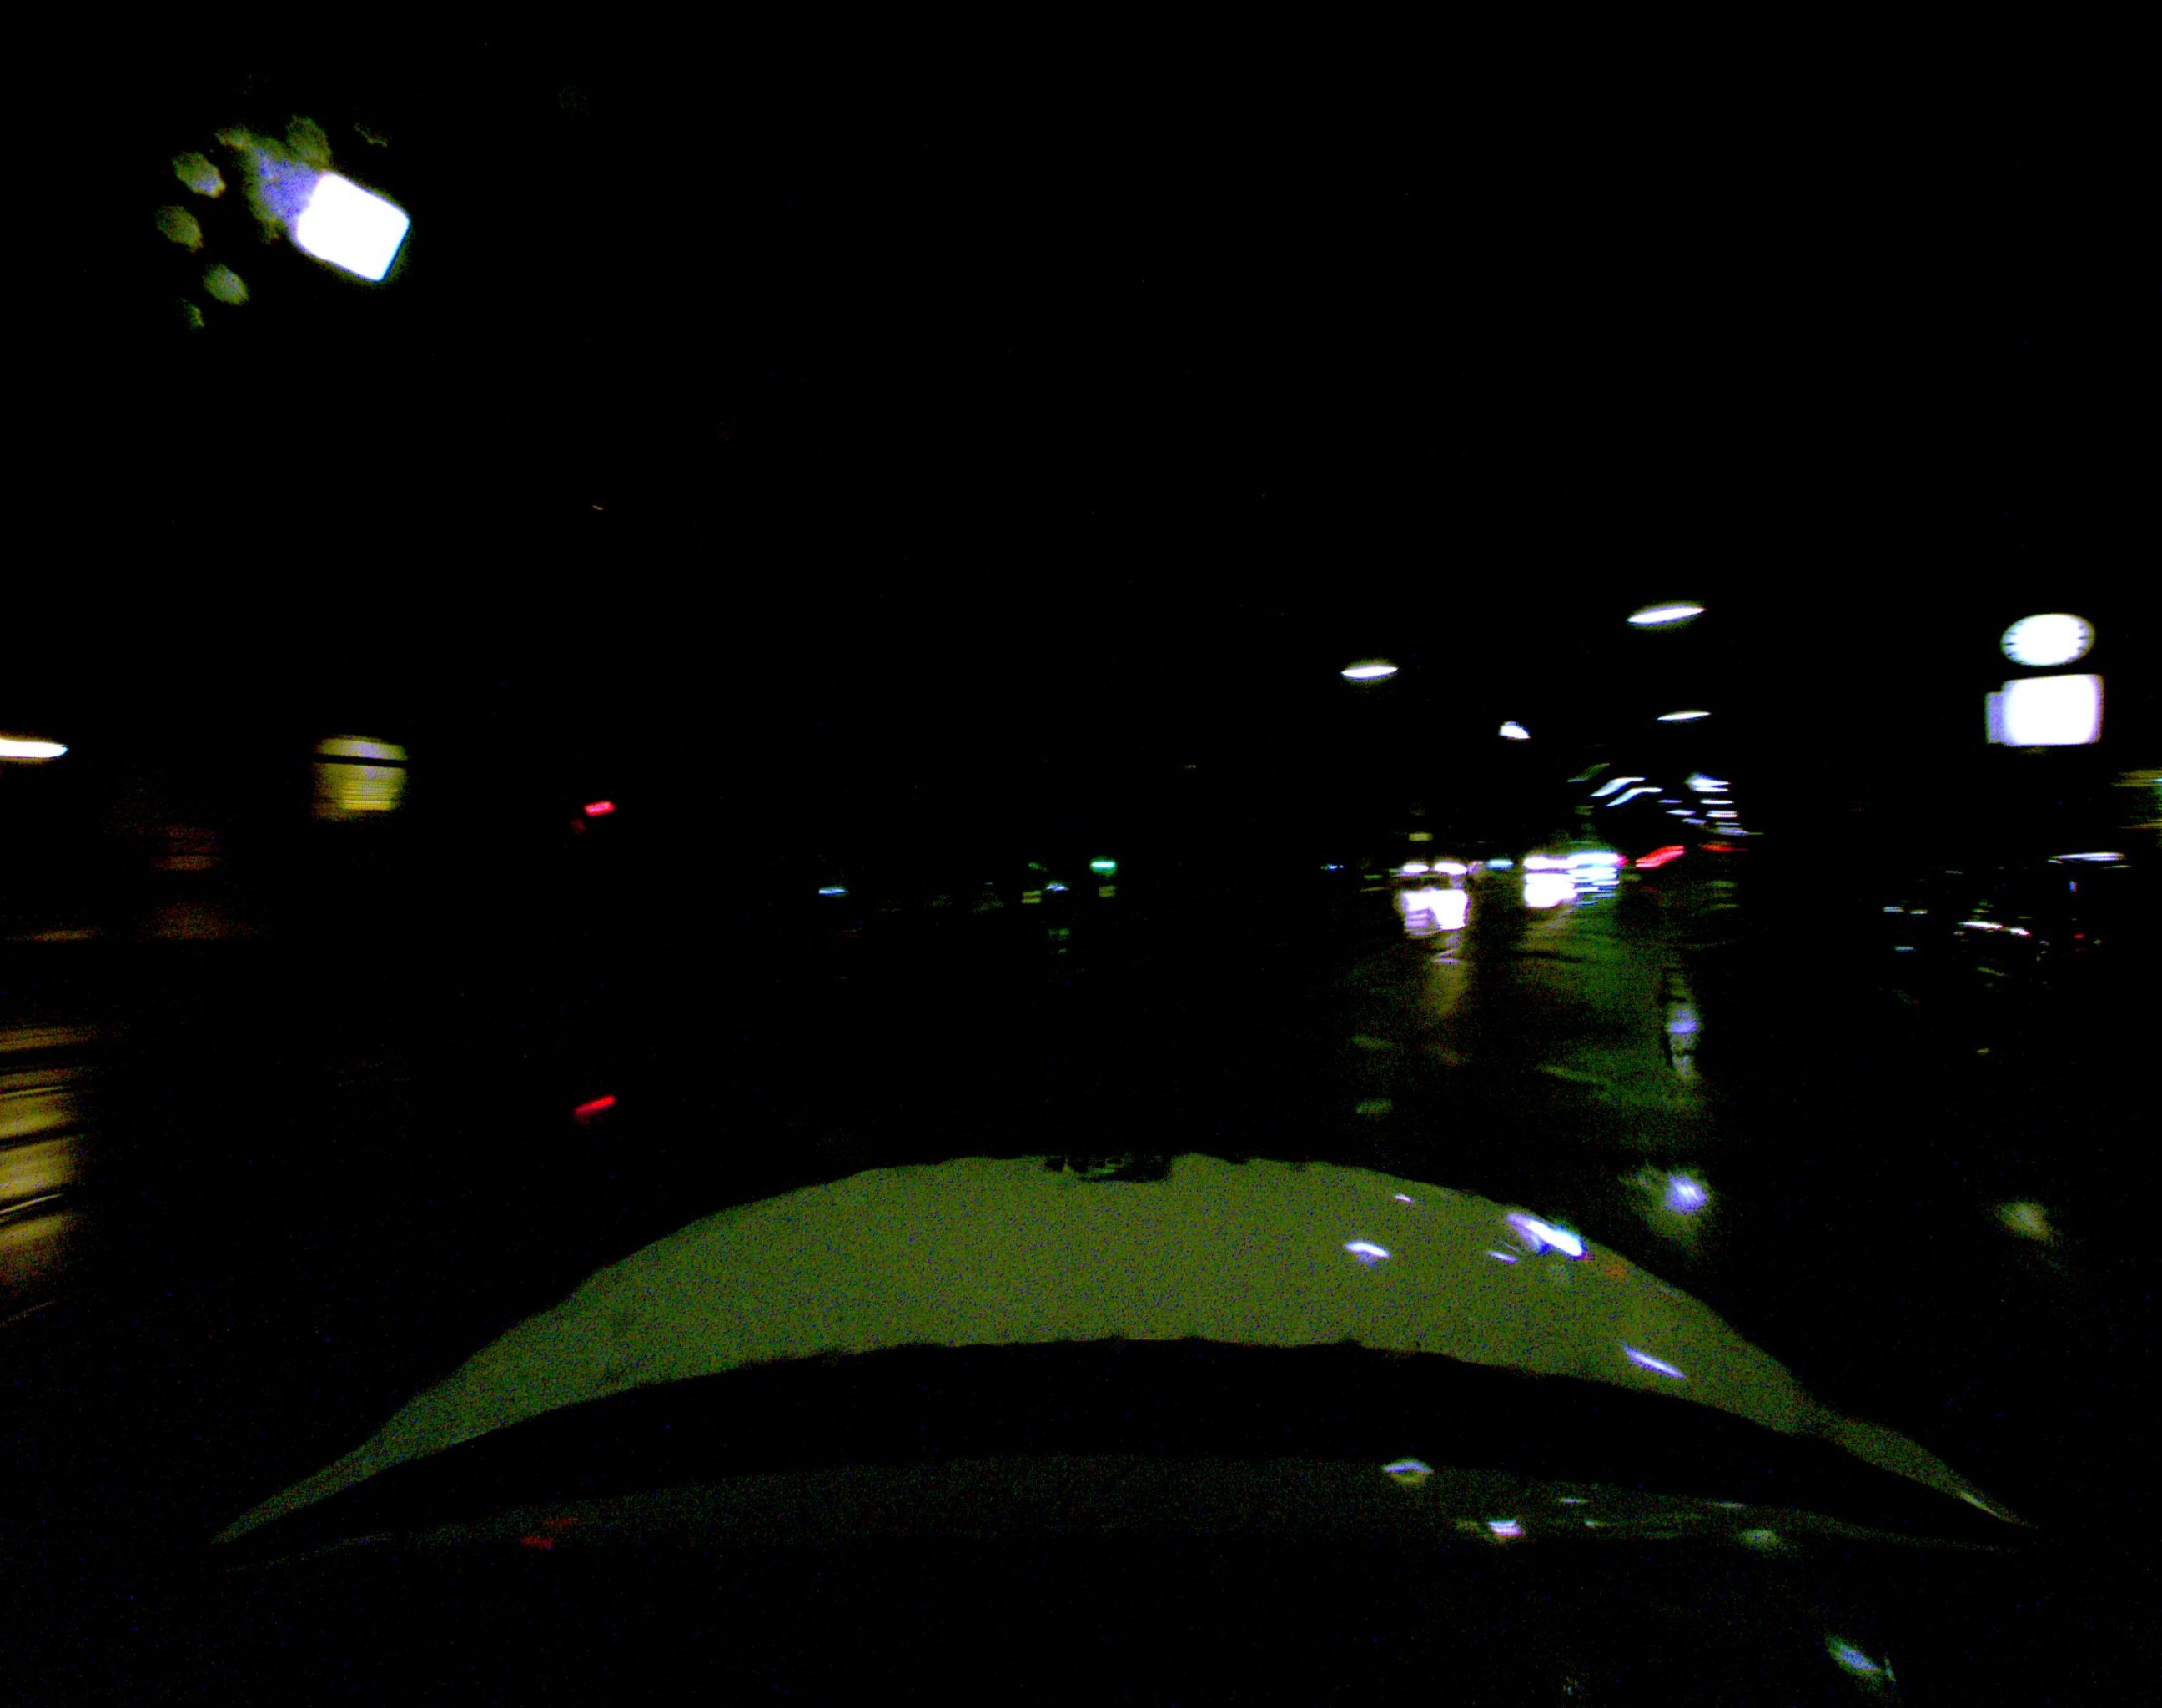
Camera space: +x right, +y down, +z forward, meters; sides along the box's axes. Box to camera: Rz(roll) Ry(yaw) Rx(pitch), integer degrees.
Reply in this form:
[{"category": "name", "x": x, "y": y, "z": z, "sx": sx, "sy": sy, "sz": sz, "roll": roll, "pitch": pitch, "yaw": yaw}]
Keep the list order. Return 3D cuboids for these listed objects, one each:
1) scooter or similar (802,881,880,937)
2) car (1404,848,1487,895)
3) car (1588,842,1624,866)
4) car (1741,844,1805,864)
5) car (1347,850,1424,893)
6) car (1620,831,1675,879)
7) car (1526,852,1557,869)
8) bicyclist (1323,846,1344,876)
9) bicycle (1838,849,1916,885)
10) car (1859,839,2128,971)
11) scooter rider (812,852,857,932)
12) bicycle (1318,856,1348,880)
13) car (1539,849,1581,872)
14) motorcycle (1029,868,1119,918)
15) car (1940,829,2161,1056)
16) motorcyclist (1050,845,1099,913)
[{"category": "scooter or similar", "x": -4.892, "y": 1.101, "z": 16.645, "sx": 1.376, "sy": 1.052, "sz": 0.635, "roll": 1, "pitch": 0, "yaw": -40}, {"category": "car", "x": 15.728, "y": 0.731, "z": 35.032, "sx": 1.877, "sy": 1.869, "sz": 4.563, "roll": -3, "pitch": -2, "yaw": 42}, {"category": "car", "x": 43.662, "y": -0.021, "z": 67.687, "sx": 1.907, "sy": 1.879, "sz": 4.666, "roll": -3, "pitch": -1, "yaw": 40}, {"category": "car", "x": 55.553, "y": -0.009, "z": 65.395, "sx": 3.769, "sy": 1.458, "sz": 1.768, "roll": 1, "pitch": 0, "yaw": -3}, {"category": "car", "x": 15.125, "y": 0.801, "z": 40.219, "sx": 1.975, "sy": 1.825, "sz": 5.343, "roll": 3, "pitch": 3, "yaw": 38}, {"category": "car", "x": 30.832, "y": 0.022, "z": 44.245, "sx": 2.195, "sy": 2.441, "sz": 5.418, "roll": 0, "pitch": 0, "yaw": 37}, {"category": "car", "x": 40.231, "y": 0.566, "z": 71.128, "sx": 1.652, "sy": 1.386, "sz": 4.026, "roll": 2, "pitch": 0, "yaw": 40}, {"category": "bicyclist", "x": 12.426, "y": 0.334, "z": 40.065, "sx": 0.648, "sy": 1.465, "sz": 0.873, "roll": 2, "pitch": 0, "yaw": 42}, {"category": "bicycle", "x": 27.484, "y": 0.456, "z": 28.153, "sx": 1.796, "sy": 1.164, "sz": 0.496, "roll": -5, "pitch": -4, "yaw": 37}, {"category": "car", "x": 12.041, "y": 0.613, "z": 11.063, "sx": 1.629, "sy": 1.442, "sz": 4.081, "roll": -6, "pitch": -3, "yaw": 38}, {"category": "scooter rider", "x": -5.049, "y": 0.766, "z": 16.672, "sx": 0.656, "sy": 1.573, "sz": 0.635, "roll": 1, "pitch": 0, "yaw": -40}, {"category": "bicycle", "x": 12.417, "y": 0.676, "z": 40.064, "sx": 0.648, "sy": 1.141, "sz": 1.909, "roll": 2, "pitch": 0, "yaw": 42}, {"category": "car", "x": 31.353, "y": 0.413, "z": 53.268, "sx": 1.775, "sy": 1.464, "sz": 3.926, "roll": -1, "pitch": 0, "yaw": 39}, {"category": "motorcycle", "x": -0.159, "y": 1.000, "z": 21.325, "sx": 2.335, "sy": 1.230, "sz": 0.702, "roll": 0, "pitch": -3, "yaw": -35}, {"category": "car", "x": 8.838, "y": 0.588, "z": 6.825, "sx": 1.631, "sy": 1.525, "sz": 3.603, "roll": -6, "pitch": -3, "yaw": 38}, {"category": "motorcyclist", "x": -0.166, "y": 0.655, "z": 21.342, "sx": 1.033, "sy": 1.731, "sz": 0.702, "roll": 0, "pitch": -3, "yaw": -35}]
